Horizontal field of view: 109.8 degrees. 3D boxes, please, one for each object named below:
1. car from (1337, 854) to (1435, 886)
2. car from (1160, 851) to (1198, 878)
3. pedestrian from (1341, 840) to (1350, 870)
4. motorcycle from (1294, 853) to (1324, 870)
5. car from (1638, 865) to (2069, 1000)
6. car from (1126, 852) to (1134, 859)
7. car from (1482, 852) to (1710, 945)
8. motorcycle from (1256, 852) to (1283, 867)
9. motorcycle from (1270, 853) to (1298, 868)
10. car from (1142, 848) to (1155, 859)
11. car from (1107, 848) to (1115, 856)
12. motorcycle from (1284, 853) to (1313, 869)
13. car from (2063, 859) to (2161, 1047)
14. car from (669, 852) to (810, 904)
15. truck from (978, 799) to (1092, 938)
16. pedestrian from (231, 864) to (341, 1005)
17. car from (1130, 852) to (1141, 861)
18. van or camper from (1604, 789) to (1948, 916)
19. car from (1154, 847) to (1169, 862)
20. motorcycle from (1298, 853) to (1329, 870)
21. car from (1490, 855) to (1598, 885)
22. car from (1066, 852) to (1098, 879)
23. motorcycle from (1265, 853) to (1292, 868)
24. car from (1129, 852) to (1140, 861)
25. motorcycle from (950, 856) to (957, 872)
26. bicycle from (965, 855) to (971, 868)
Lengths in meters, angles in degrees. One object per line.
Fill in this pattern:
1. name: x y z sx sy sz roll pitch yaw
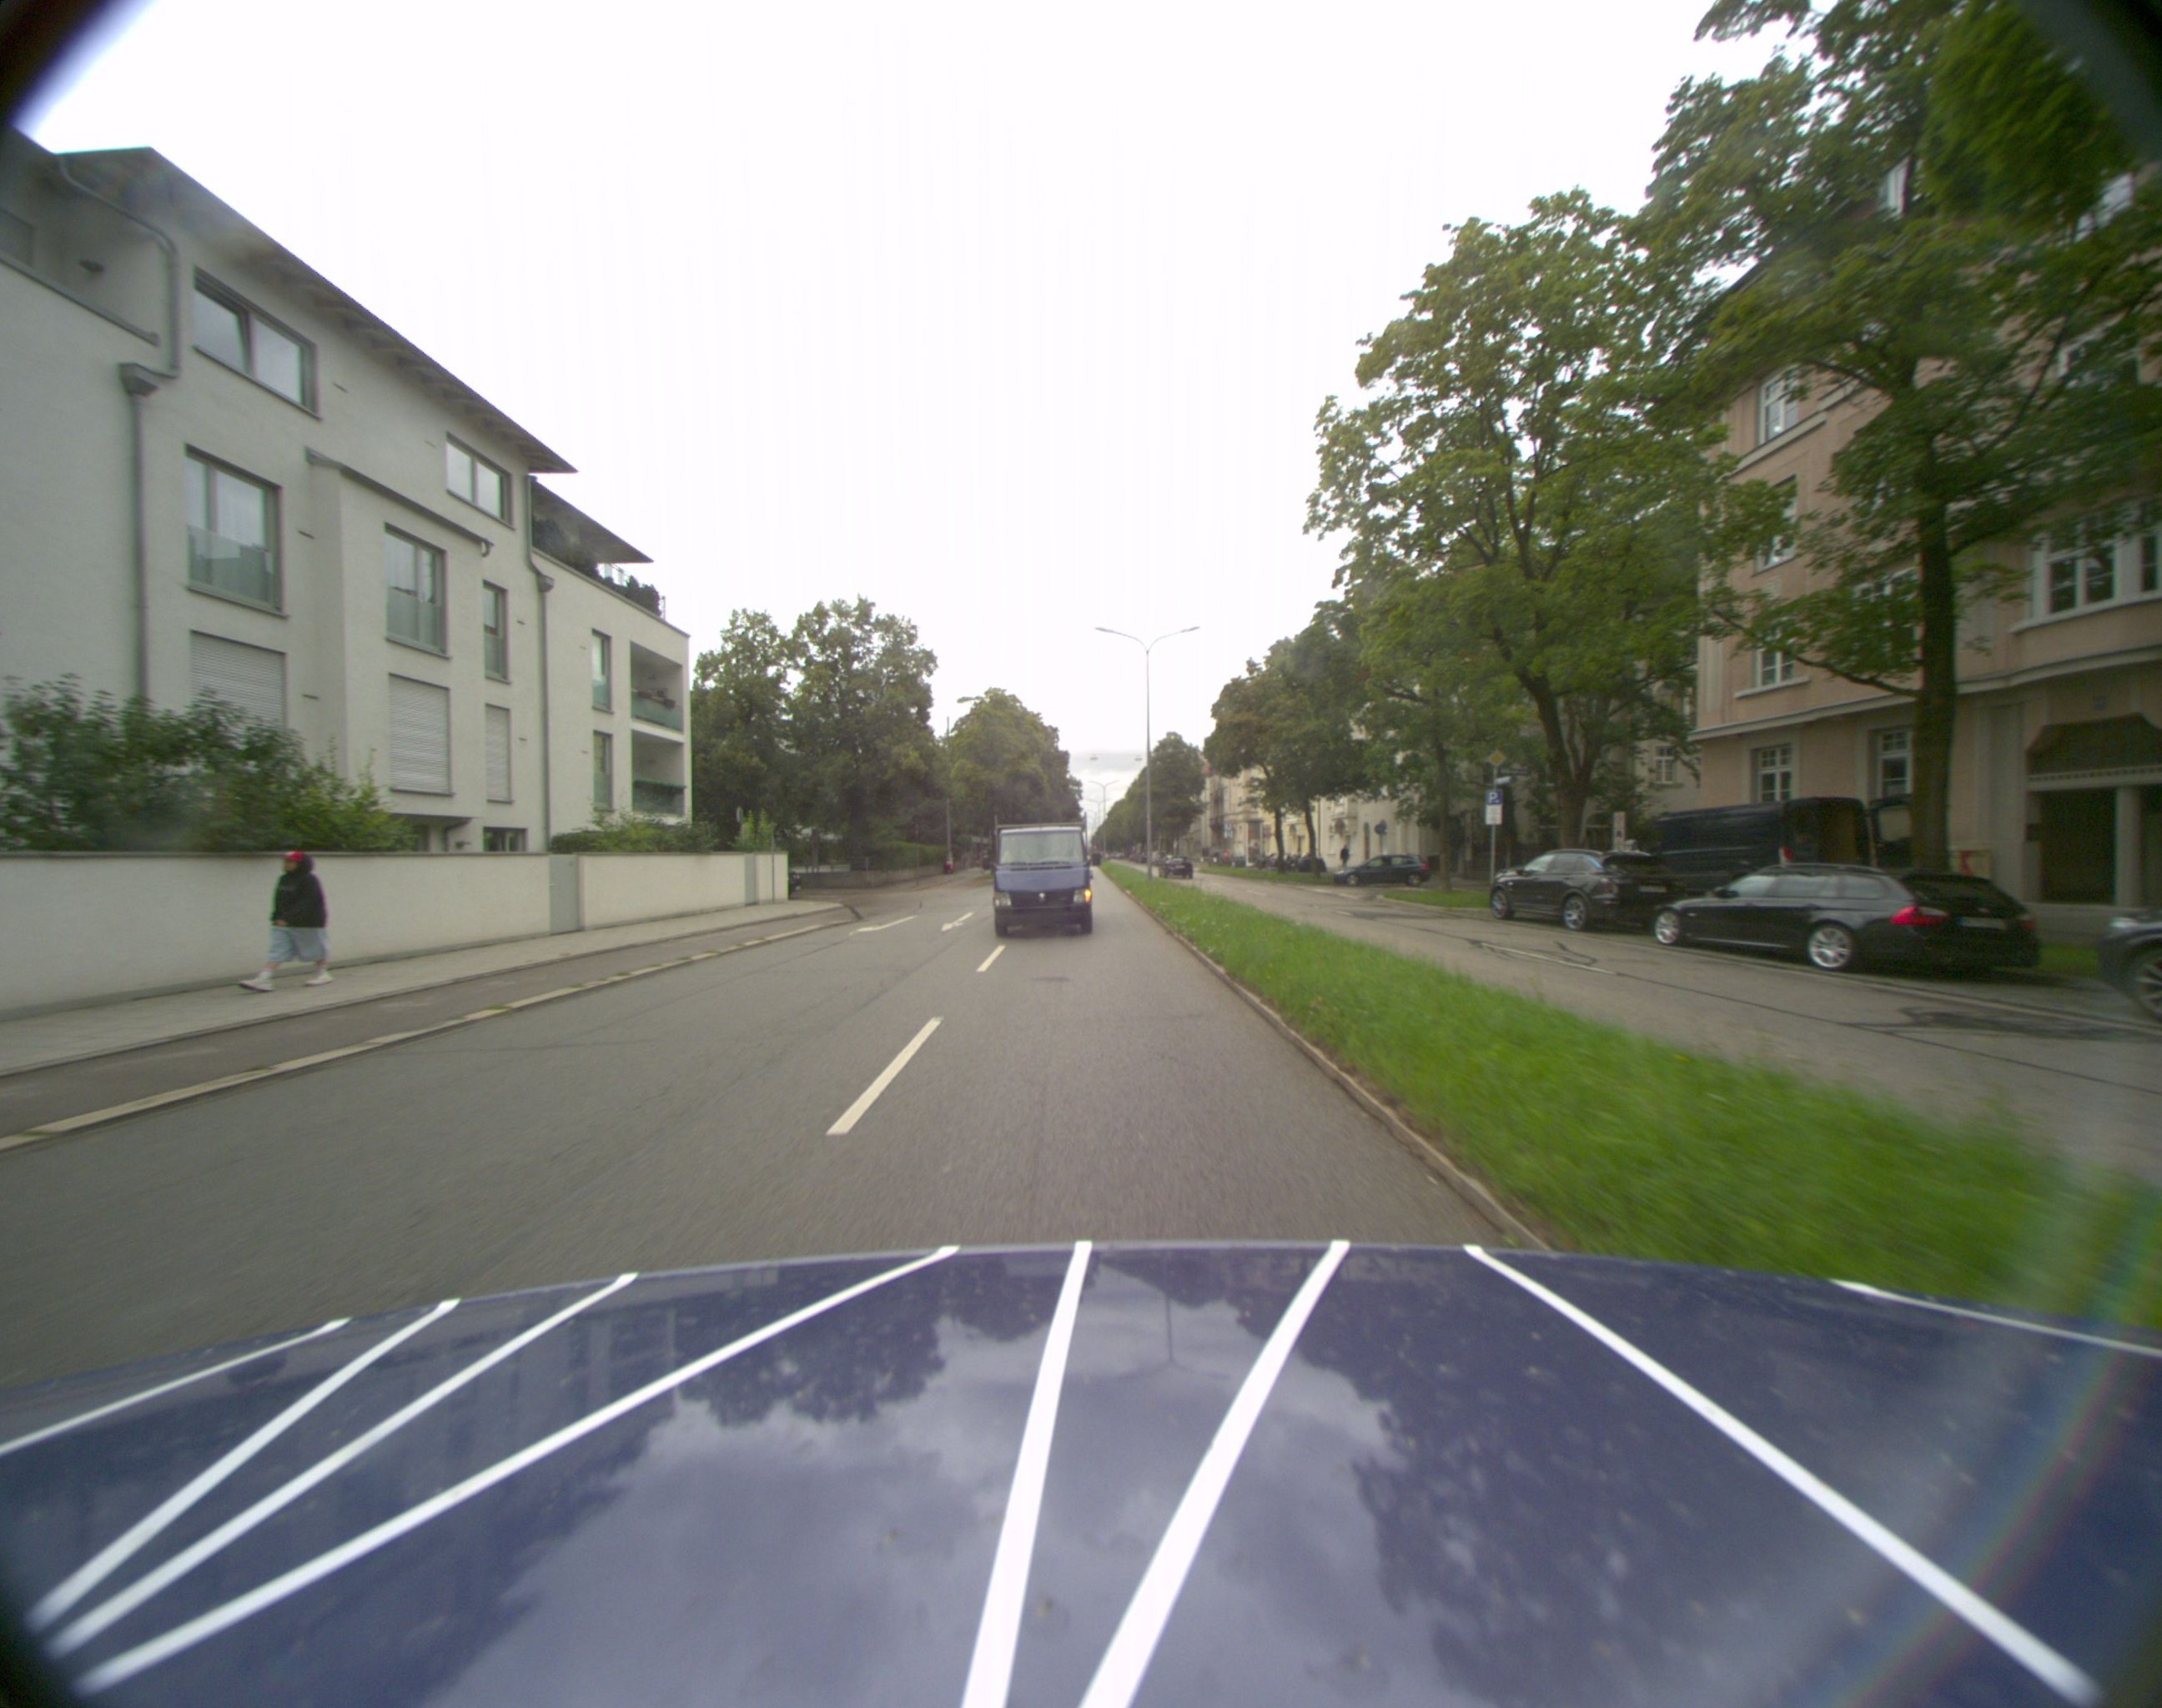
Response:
1. car: 13.791 0.739 34.630 3.992 1.367 1.864 -1 0 17
2. car: 6.015 0.619 47.156 1.815 1.498 4.323 2 0 1
3. pedestrian: 18.119 0.079 52.059 0.599 2.048 0.685 0 1 20
4. motorcycle: 16.136 0.525 53.869 1.953 1.143 0.597 0 1 38
5. car: 10.548 0.938 11.001 1.696 1.446 4.492 -1 0 1
6. car: 12.339 0.387 192.208 1.872 1.827 4.000 -1 0 1
7. car: 10.660 0.809 16.210 1.878 1.677 4.438 -1 0 1
8. motorcycle: 15.035 0.465 60.608 1.954 1.143 0.597 -1 1 21
9. motorcycle: 15.334 0.500 57.364 1.953 1.143 0.597 0 1 38
10. car: 11.294 -0.055 127.075 1.872 1.827 4.000 -1 0 1
11. car: 6.910 -0.403 177.119 1.814 1.761 4.000 -1 0 1
12. motorcycle: 15.932 0.505 55.735 1.953 1.143 0.597 0 1 38
13. car: 10.450 0.886 4.984 1.883 1.636 4.770 -1 0 1
14. car: -13.456 0.933 30.101 4.730 1.913 1.875 -1 2 4
15. truck: -0.788 0.248 16.191 1.998 2.475 5.151 -1 0 1
16. pedestrian: -9.342 0.921 8.953 0.529 1.572 0.729 1 1 -1
17. car: 11.026 0.499 154.364 1.872 1.827 4.000 -1 0 1
18. van or camper: 16.574 -0.044 18.952 2.351 2.564 6.850 -1 0 0
19. car: 11.348 0.080 107.513 1.790 2.002 4.000 -1 0 1
20. motorcycle: 16.027 0.519 52.454 1.953 1.143 0.597 0 1 38
21. car: 21.679 0.745 35.678 3.997 1.314 1.795 -1 1 -1
22. car: 0.049 0.689 48.172 1.946 1.642 3.999 -1 0 0
23. motorcycle: 15.298 0.478 58.843 1.953 1.143 0.597 0 1 38
24. car: 11.228 0.611 159.578 1.872 1.827 4.000 -1 0 1
25. motorcycle: -9.558 0.739 56.790 0.497 1.135 1.631 -1 1 -10
26. bicycle: -9.573 0.612 64.318 0.490 1.093 1.631 -1 1 -10
